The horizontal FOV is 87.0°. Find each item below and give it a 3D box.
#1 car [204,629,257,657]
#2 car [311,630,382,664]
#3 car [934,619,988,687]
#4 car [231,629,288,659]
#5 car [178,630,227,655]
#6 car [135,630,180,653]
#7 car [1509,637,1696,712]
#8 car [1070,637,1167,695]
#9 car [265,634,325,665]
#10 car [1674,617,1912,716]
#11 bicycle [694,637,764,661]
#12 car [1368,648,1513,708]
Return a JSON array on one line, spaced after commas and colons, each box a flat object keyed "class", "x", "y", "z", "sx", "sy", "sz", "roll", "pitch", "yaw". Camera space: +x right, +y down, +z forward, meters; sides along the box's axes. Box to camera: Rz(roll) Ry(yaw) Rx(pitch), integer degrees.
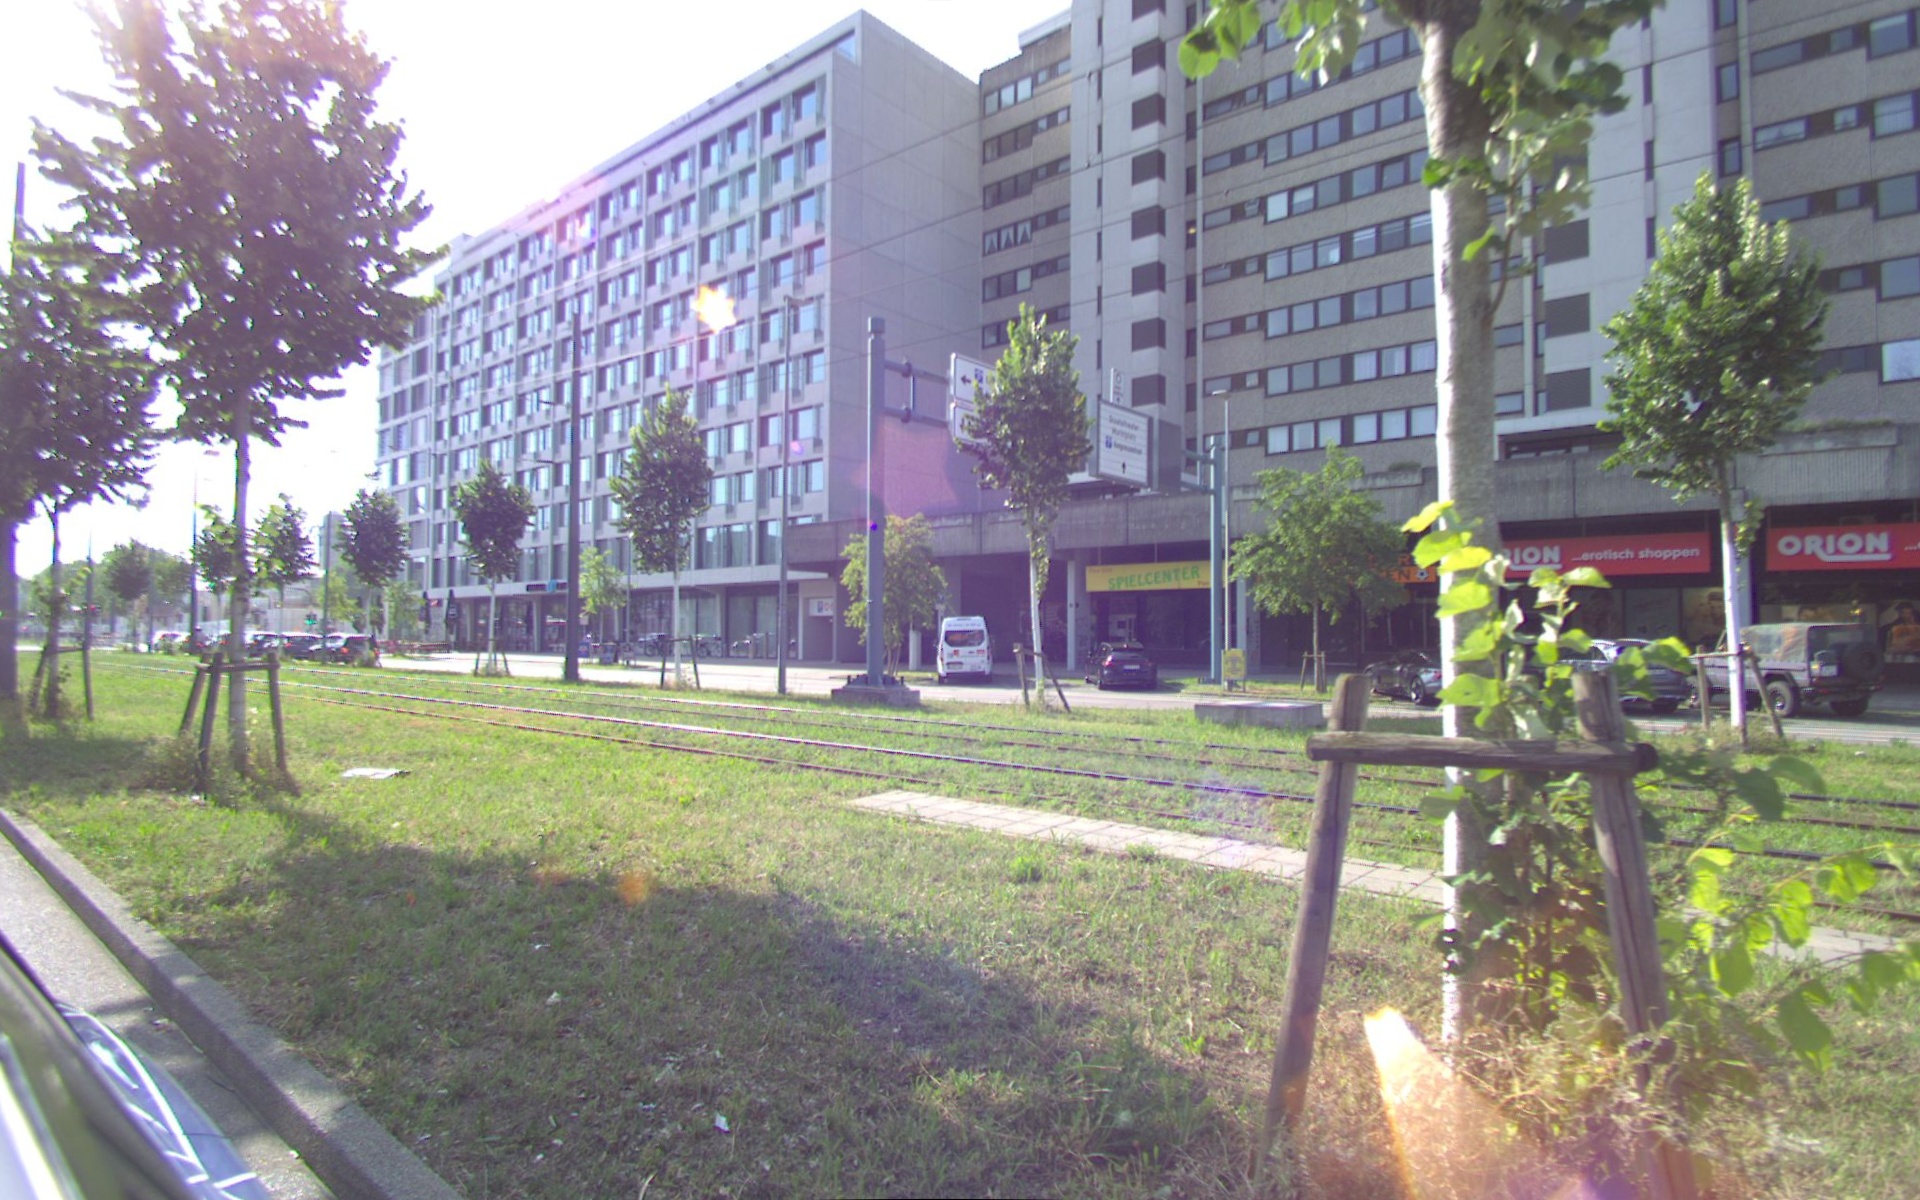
[{"class": "car", "x": -42.513, "y": 2.475, "z": 58.972, "sx": 4.000, "sy": 1.586, "sz": 1.787, "roll": -2, "pitch": -3, "yaw": 43}, {"class": "car", "x": -28.000, "y": 2.113, "z": 46.155, "sx": 4.000, "sy": 1.492, "sz": 1.787, "roll": -2, "pitch": -3, "yaw": 43}, {"class": "car", "x": 0.045, "y": 1.906, "z": 37.537, "sx": 1.859, "sy": 2.326, "sz": 5.407, "roll": 0, "pitch": -2, "yaw": 0}, {"class": "car", "x": -38.368, "y": 2.386, "z": 55.396, "sx": 4.000, "sy": 1.586, "sz": 1.787, "roll": -2, "pitch": -3, "yaw": 43}, {"class": "car", "x": -47.195, "y": 2.637, "z": 63.030, "sx": 4.000, "sy": 1.486, "sz": 1.787, "roll": -2, "pitch": -3, "yaw": 43}, {"class": "car", "x": -55.586, "y": 2.865, "z": 70.046, "sx": 3.998, "sy": 1.536, "sz": 1.764, "roll": -2, "pitch": -3, "yaw": 42}, {"class": "car", "x": 15.092, "y": 1.703, "z": 24.075, "sx": 1.854, "sy": 1.619, "sz": 4.109, "roll": 0, "pitch": -2, "yaw": 1}, {"class": "car", "x": 5.017, "y": 2.077, "z": 32.660, "sx": 2.070, "sy": 1.594, "sz": 4.005, "roll": -2, "pitch": -1, "yaw": -6}, {"class": "car", "x": -33.622, "y": 2.469, "z": 51.120, "sx": 3.641, "sy": 1.498, "sz": 1.722, "roll": -2, "pitch": -3, "yaw": 43}, {"class": "car", "x": 18.222, "y": 1.402, "z": 22.433, "sx": 1.854, "sy": 1.983, "sz": 4.109, "roll": 0, "pitch": -2, "yaw": 1}, {"class": "bicycle", "x": -13.494, "y": 2.848, "z": 59.305, "sx": 3.937, "sy": 1.377, "sz": 1.128, "roll": 2, "pitch": -3, "yaw": -40}, {"class": "car", "x": 12.379, "y": 1.968, "z": 26.399, "sx": 1.854, "sy": 1.253, "sz": 4.110, "roll": -1, "pitch": -1, "yaw": 1}]
